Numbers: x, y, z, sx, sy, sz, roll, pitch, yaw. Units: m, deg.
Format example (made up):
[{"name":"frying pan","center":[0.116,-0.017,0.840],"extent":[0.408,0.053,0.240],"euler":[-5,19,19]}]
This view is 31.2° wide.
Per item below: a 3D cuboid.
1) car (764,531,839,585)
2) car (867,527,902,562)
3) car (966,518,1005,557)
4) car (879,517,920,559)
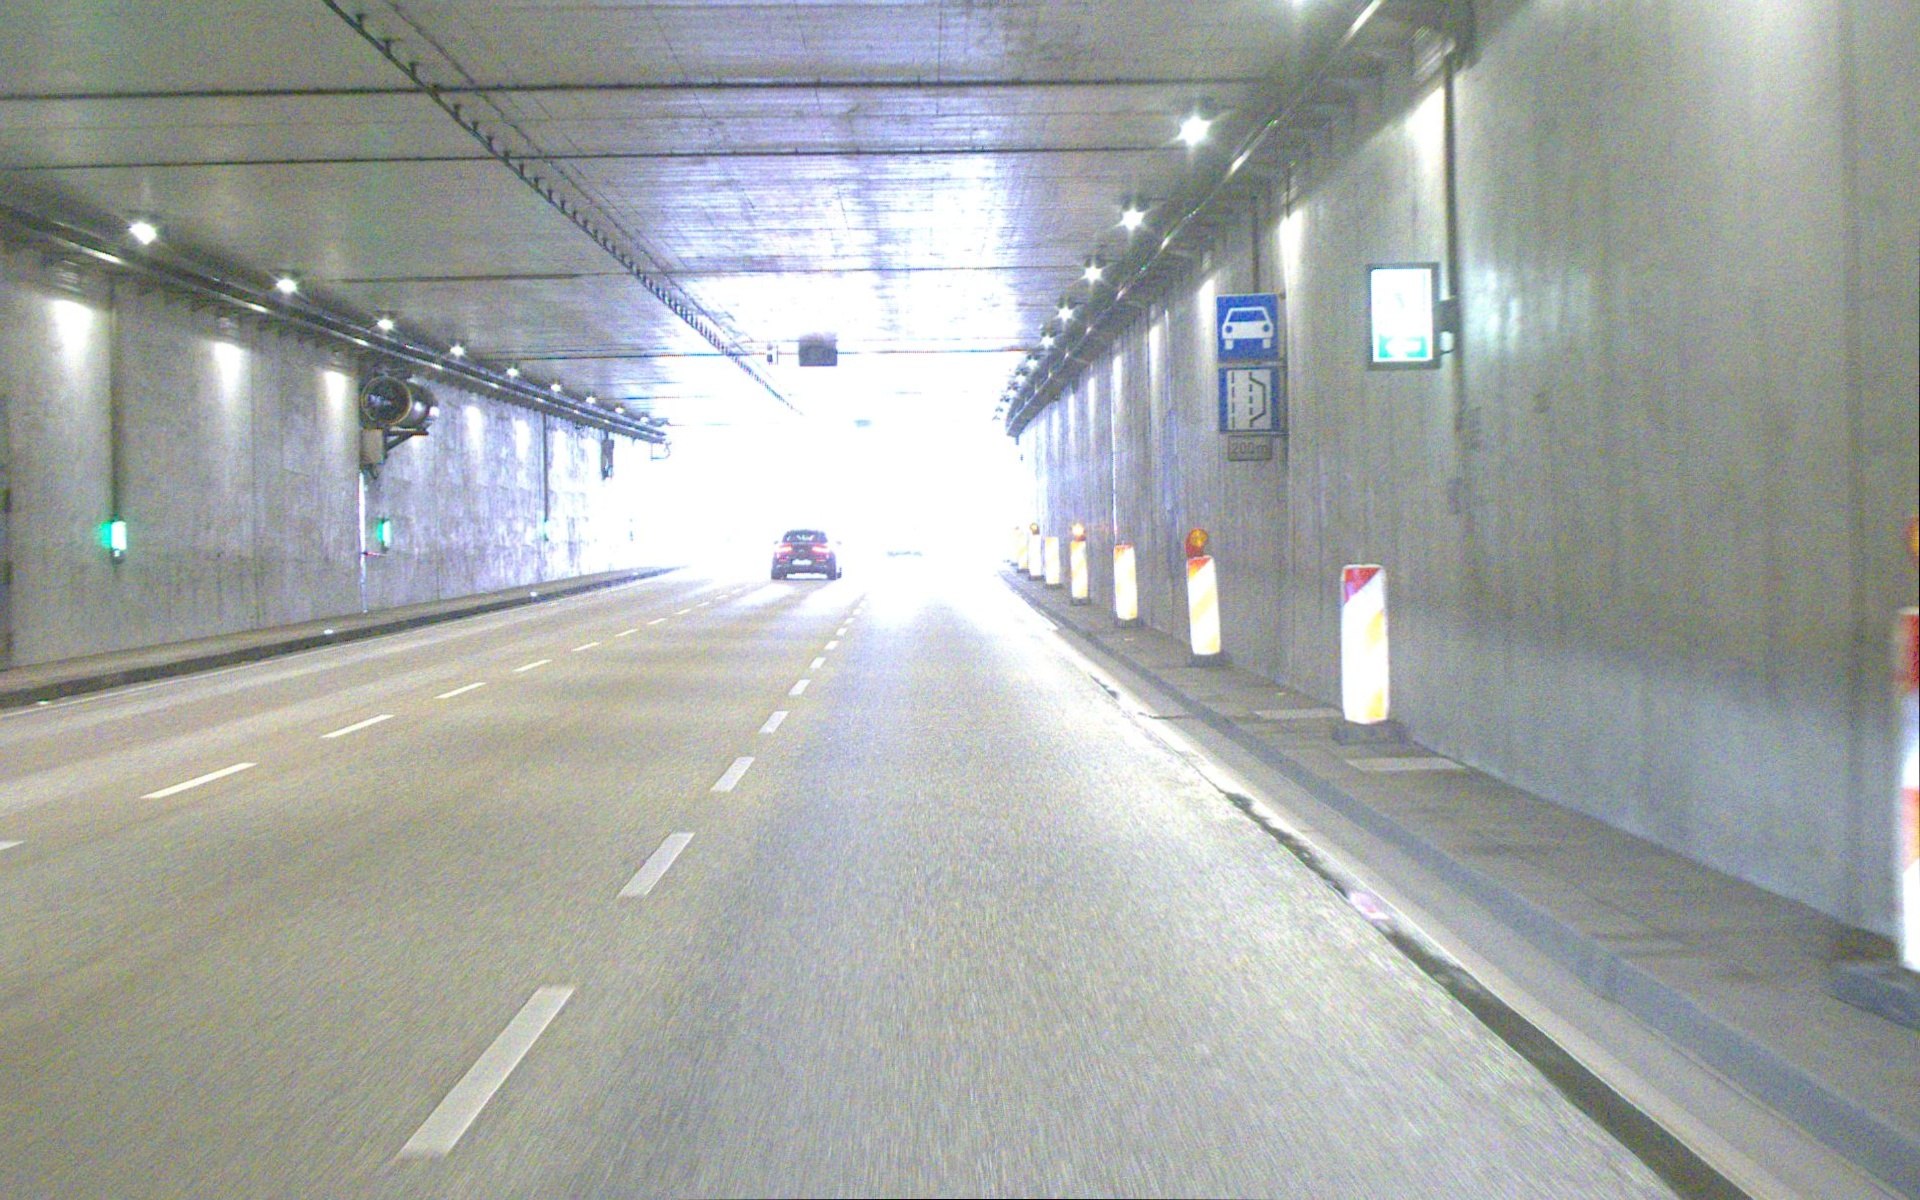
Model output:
[{"name":"car","center":[-4.551,-1.217,98.340],"extent":[1.993,1.443,4.315],"euler":[1,1,-4]},{"name":"car","center":[-4.429,-3.245,202.521],"extent":[1.993,2.007,4.000],"euler":[-1,0,-1]},{"name":"car","center":[1.351,-3.333,183.092],"extent":[1.993,2.007,4.000],"euler":[0,0,0]},{"name":"car","center":[-2.963,-3.015,168.806],"extent":[1.993,2.007,4.000],"euler":[0,0,0]}]
